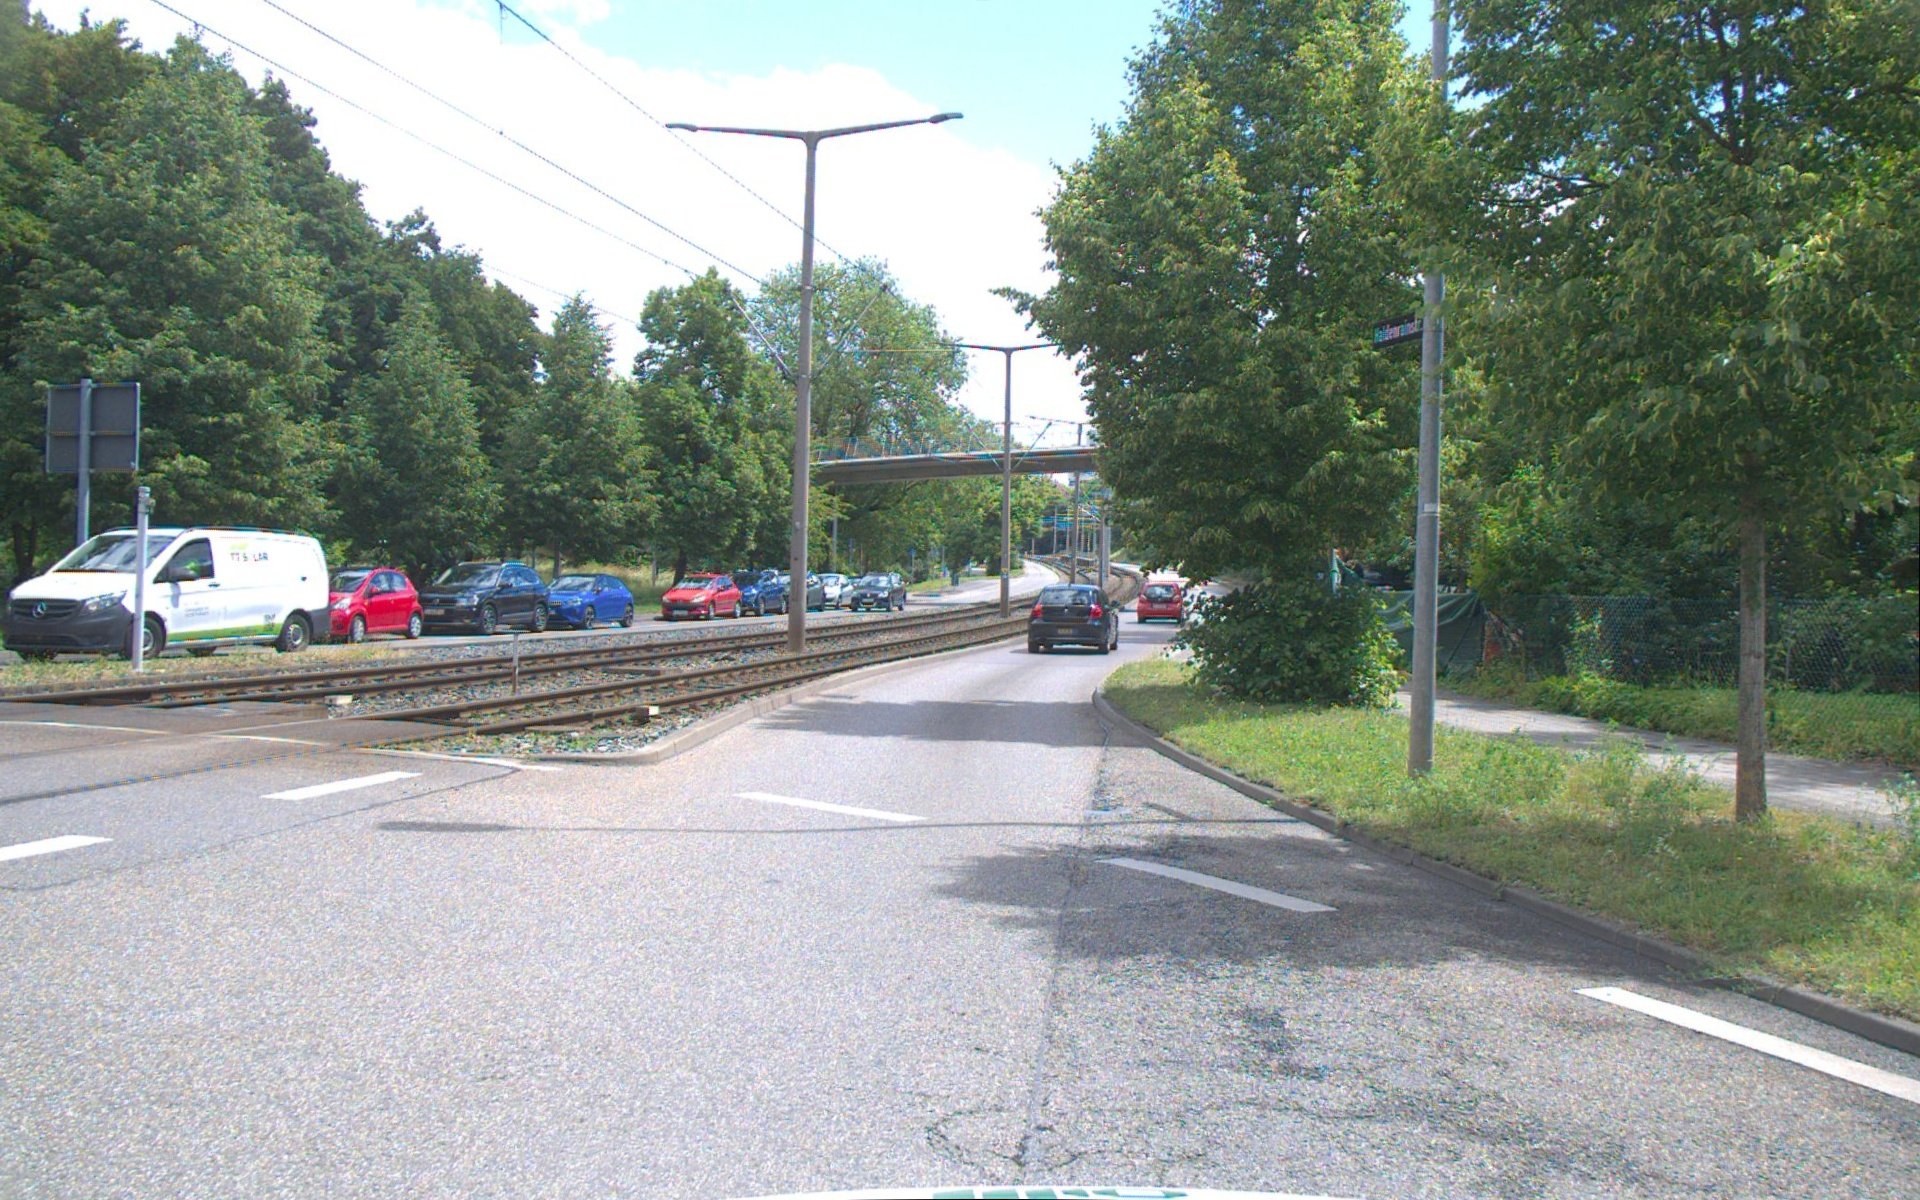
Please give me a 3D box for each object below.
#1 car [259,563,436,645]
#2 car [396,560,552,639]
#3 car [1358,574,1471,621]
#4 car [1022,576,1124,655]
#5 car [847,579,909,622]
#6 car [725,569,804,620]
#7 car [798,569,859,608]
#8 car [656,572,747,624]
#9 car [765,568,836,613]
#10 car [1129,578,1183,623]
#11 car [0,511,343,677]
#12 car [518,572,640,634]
[{"bbox_3d":[-12.136,0.106,33.011,1.579,1.477,3.664,3,-1,11],"label":"car"},{"bbox_3d":[-11.128,0.029,38.218,1.546,1.633,4.378,3,-1,11],"label":"car"},{"bbox_3d":[19.169,-0.087,69.969,4.428,1.701,2.001,-3,-2,13],"label":"car"},{"bbox_3d":[2.473,0.300,35.370,1.672,1.485,3.964,3,1,10],"label":"car"},{"bbox_3d":[-3.267,0.036,66.887,1.579,1.601,4.003,3,0,10],"label":"car"},{"bbox_3d":[-6.895,-0.174,58.682,1.524,1.623,4.163,3,-1,11],"label":"car"},{"bbox_3d":[-5.504,-0.454,69.533,1.559,1.520,4.195,3,0,9],"label":"car"},{"bbox_3d":[-8.327,-0.029,53.645,1.579,1.520,4.051,3,-1,11],"label":"car"},{"bbox_3d":[-6.146,-0.352,64.235,1.607,1.651,4.129,1,0,11],"label":"car"},{"bbox_3d":[7.083,0.037,59.581,1.590,1.468,3.424,3,0,11],"label":"car"},{"bbox_3d":[-11.324,-0.037,23.818,1.835,2.054,5.238,3,-1,14],"label":"car"},{"bbox_3d":[-10.003,0.112,43.676,1.579,1.486,4.010,3,-1,11],"label":"car"}]
